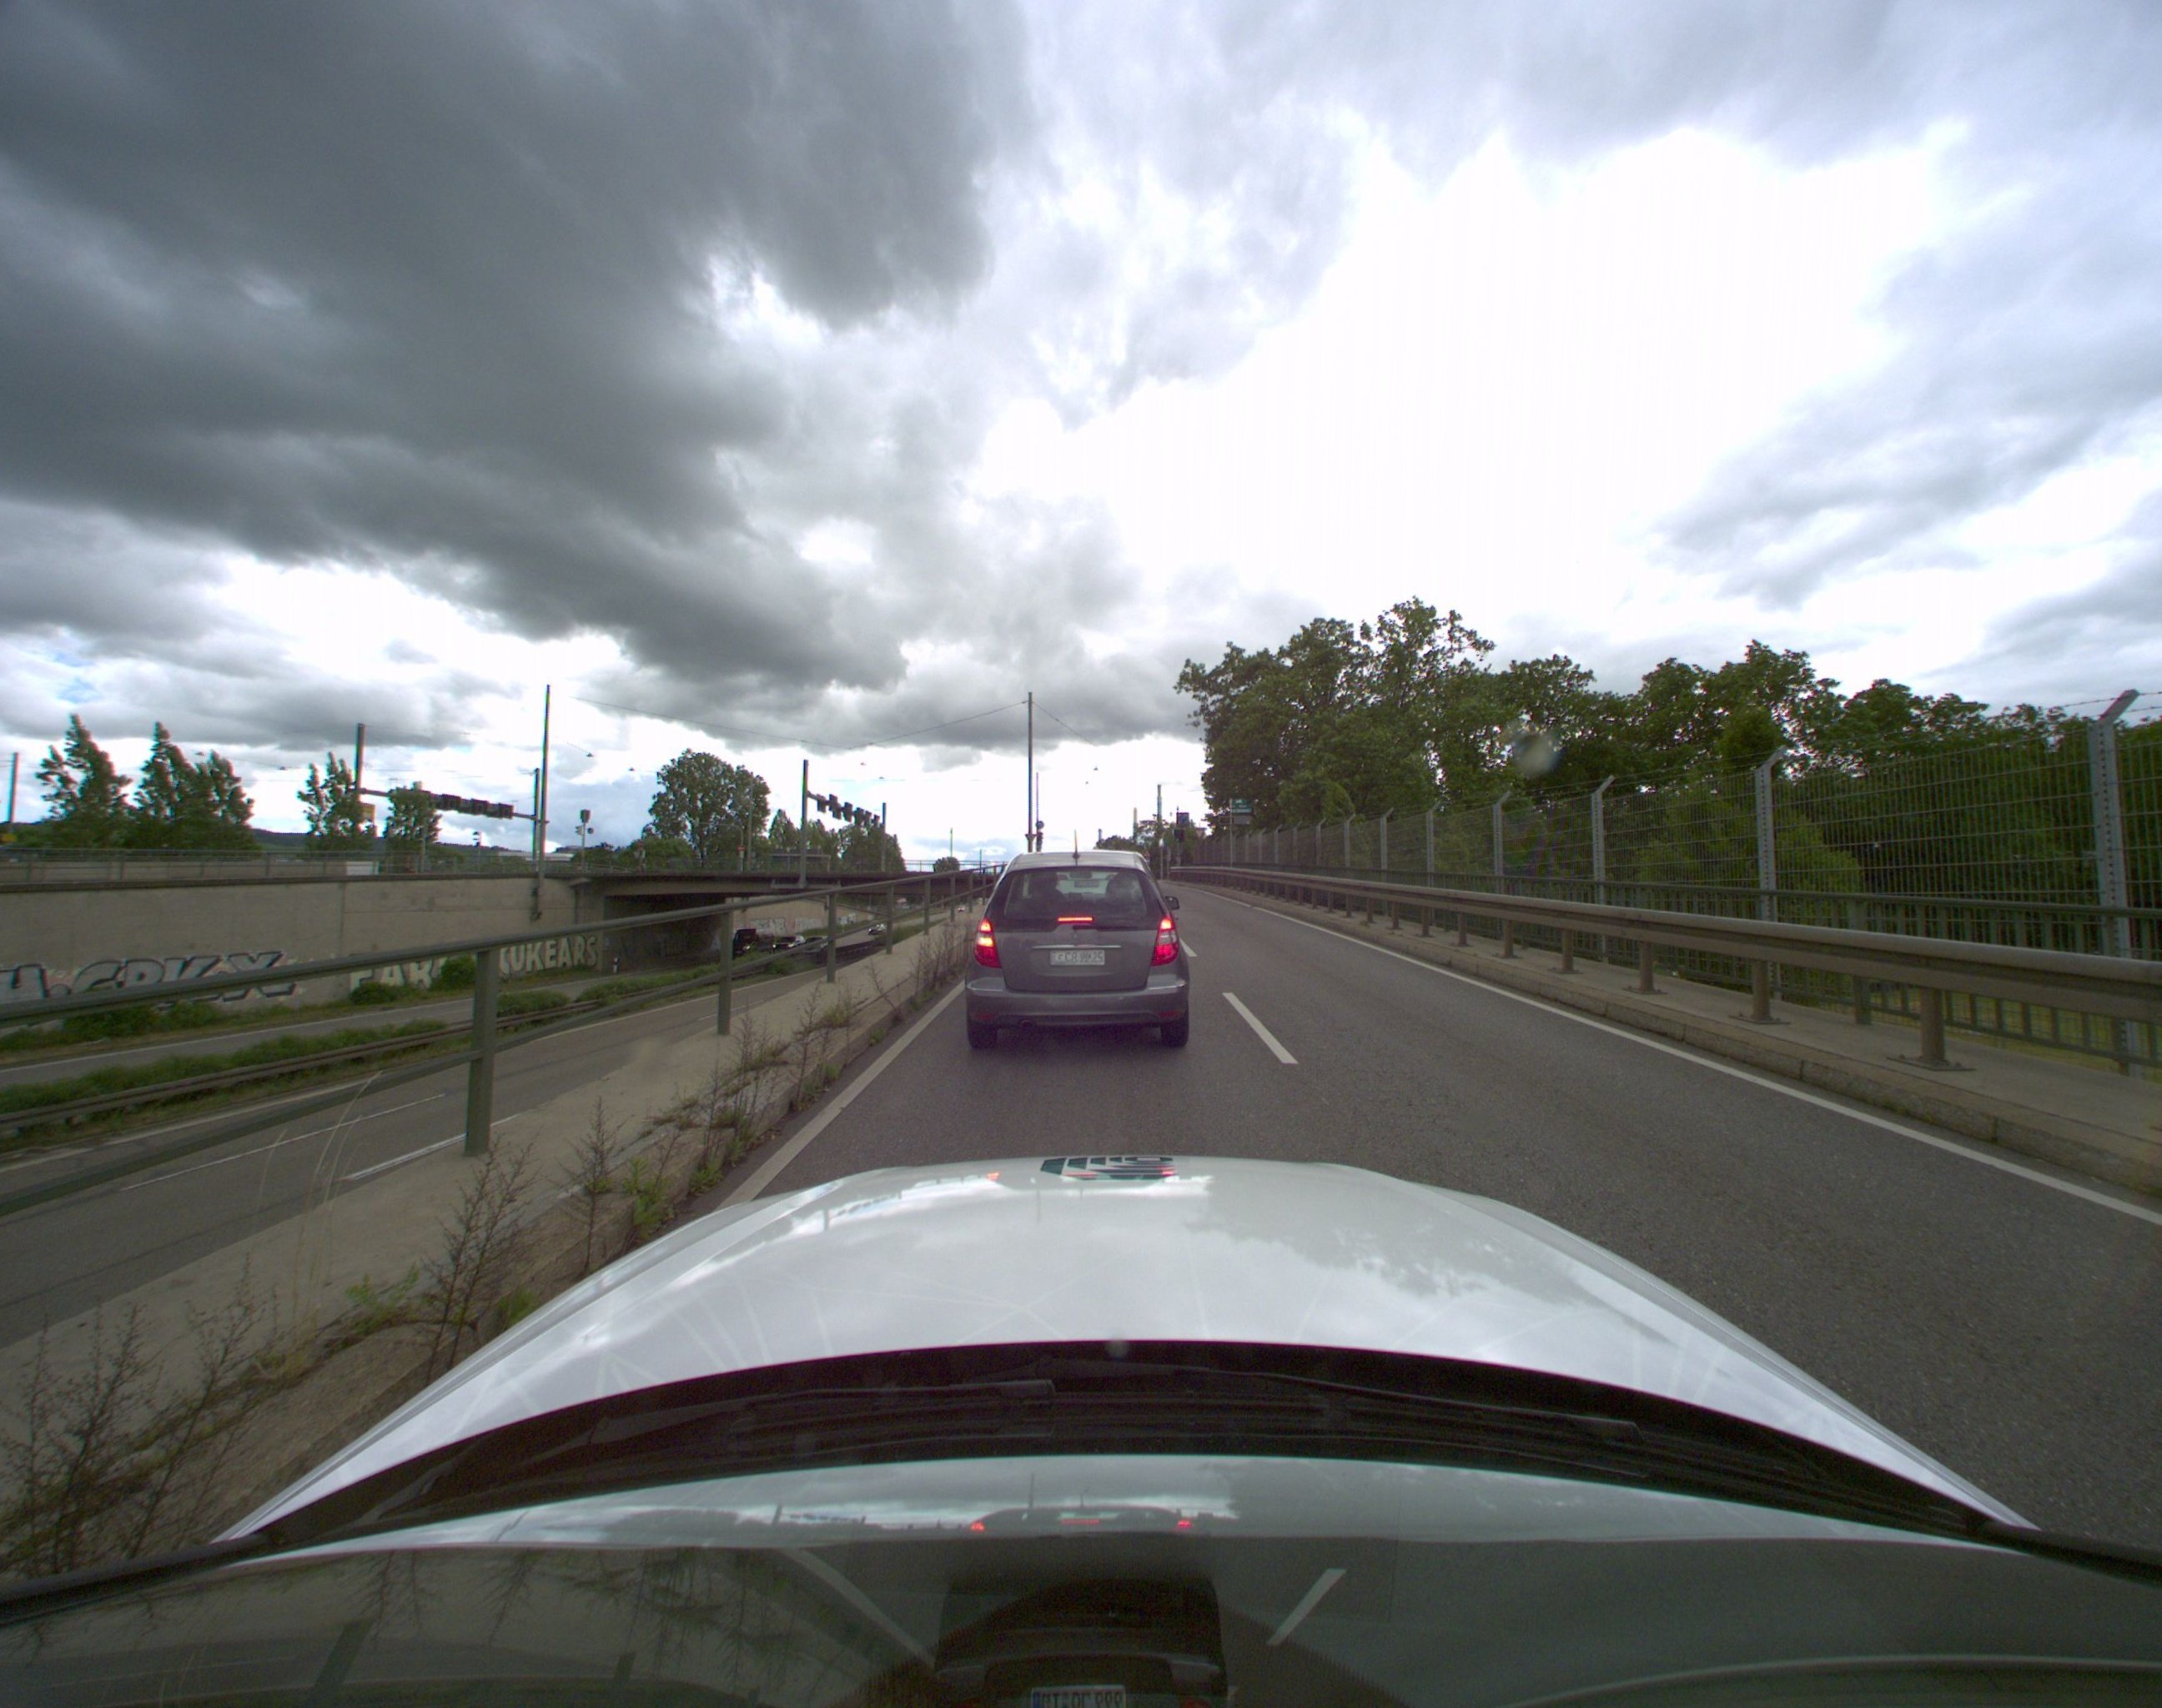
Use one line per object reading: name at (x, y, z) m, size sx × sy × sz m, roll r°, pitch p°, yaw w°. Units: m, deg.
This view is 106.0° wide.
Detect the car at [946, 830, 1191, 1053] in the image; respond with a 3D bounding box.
car at (0.164, 0.716, 7.927) m, size 1.740 × 1.581 × 4.093 m, roll -1°, pitch -3°, yaw 8°

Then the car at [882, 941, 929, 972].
car at (-11.055, 6.456, 51.539) m, size 1.846 × 1.500 × 4.003 m, roll -1°, pitch -2°, yaw 4°

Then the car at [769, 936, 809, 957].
car at (-25.842, 8.204, 72.206) m, size 1.987 × 1.662 × 3.999 m, roll 0°, pitch -4°, yaw 1°

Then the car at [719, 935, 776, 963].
car at (-29.438, 8.386, 72.152) m, size 2.282 × 2.156 × 6.183 m, roll -1°, pitch -4°, yaw 1°

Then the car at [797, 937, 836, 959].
car at (-22.478, 7.990, 69.358) m, size 1.987 × 1.662 × 3.999 m, roll 0°, pitch -4°, yaw 1°

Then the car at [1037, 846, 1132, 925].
car at (0.126, 0.646, 19.234) m, size 1.986 × 1.603 × 4.002 m, roll -1°, pitch 1°, yaw 1°
